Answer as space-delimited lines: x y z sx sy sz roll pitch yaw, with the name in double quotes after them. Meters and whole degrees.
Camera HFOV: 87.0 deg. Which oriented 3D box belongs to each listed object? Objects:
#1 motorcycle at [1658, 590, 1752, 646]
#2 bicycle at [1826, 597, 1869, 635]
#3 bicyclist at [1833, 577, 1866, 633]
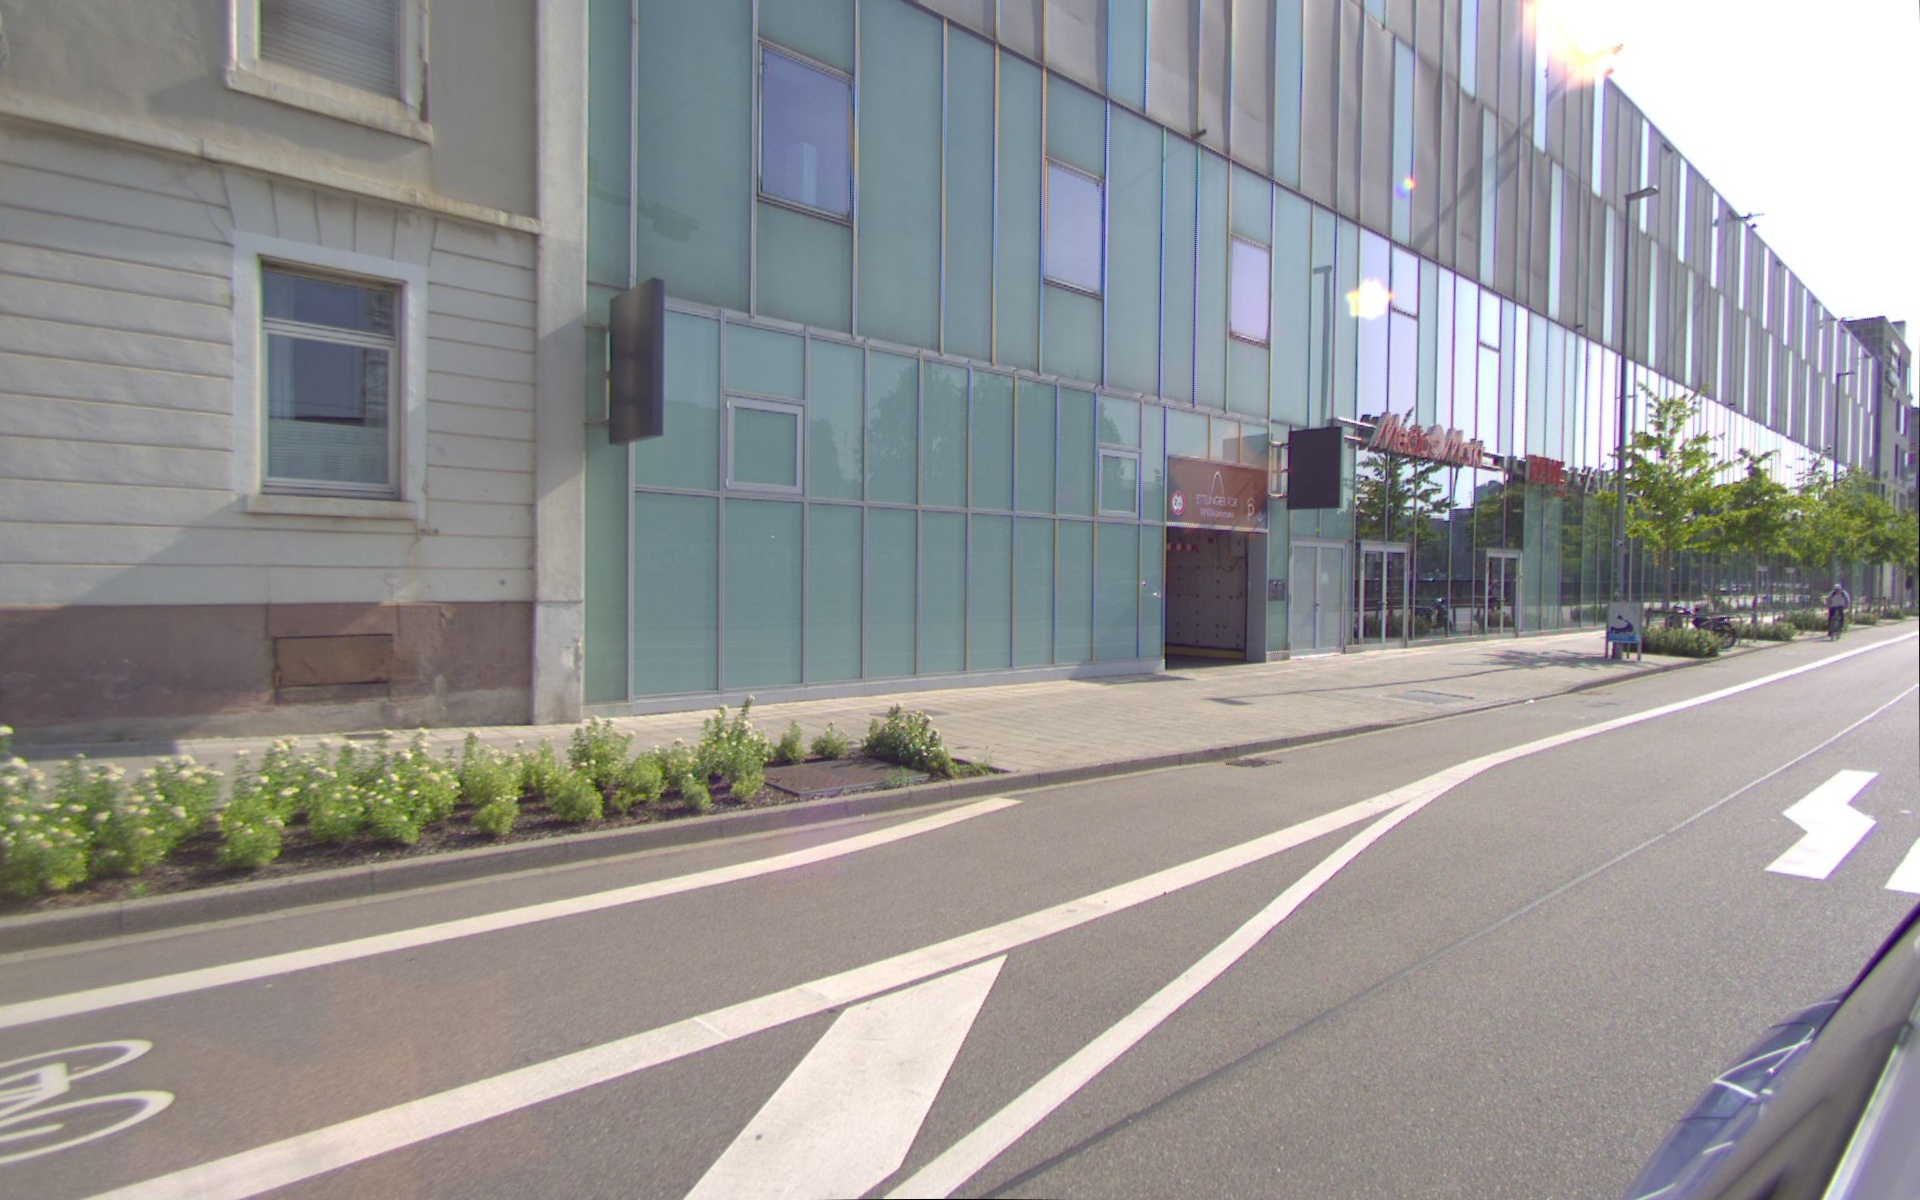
19.880 0.454 27.017 1.966 1.366 0.855 2 2 39 "motorcycle"
28.180 0.485 32.127 2.014 1.131 0.662 -1 2 -38 "bicycle"
28.318 0.152 32.225 0.755 1.770 0.653 0 1 -38 "bicyclist"
